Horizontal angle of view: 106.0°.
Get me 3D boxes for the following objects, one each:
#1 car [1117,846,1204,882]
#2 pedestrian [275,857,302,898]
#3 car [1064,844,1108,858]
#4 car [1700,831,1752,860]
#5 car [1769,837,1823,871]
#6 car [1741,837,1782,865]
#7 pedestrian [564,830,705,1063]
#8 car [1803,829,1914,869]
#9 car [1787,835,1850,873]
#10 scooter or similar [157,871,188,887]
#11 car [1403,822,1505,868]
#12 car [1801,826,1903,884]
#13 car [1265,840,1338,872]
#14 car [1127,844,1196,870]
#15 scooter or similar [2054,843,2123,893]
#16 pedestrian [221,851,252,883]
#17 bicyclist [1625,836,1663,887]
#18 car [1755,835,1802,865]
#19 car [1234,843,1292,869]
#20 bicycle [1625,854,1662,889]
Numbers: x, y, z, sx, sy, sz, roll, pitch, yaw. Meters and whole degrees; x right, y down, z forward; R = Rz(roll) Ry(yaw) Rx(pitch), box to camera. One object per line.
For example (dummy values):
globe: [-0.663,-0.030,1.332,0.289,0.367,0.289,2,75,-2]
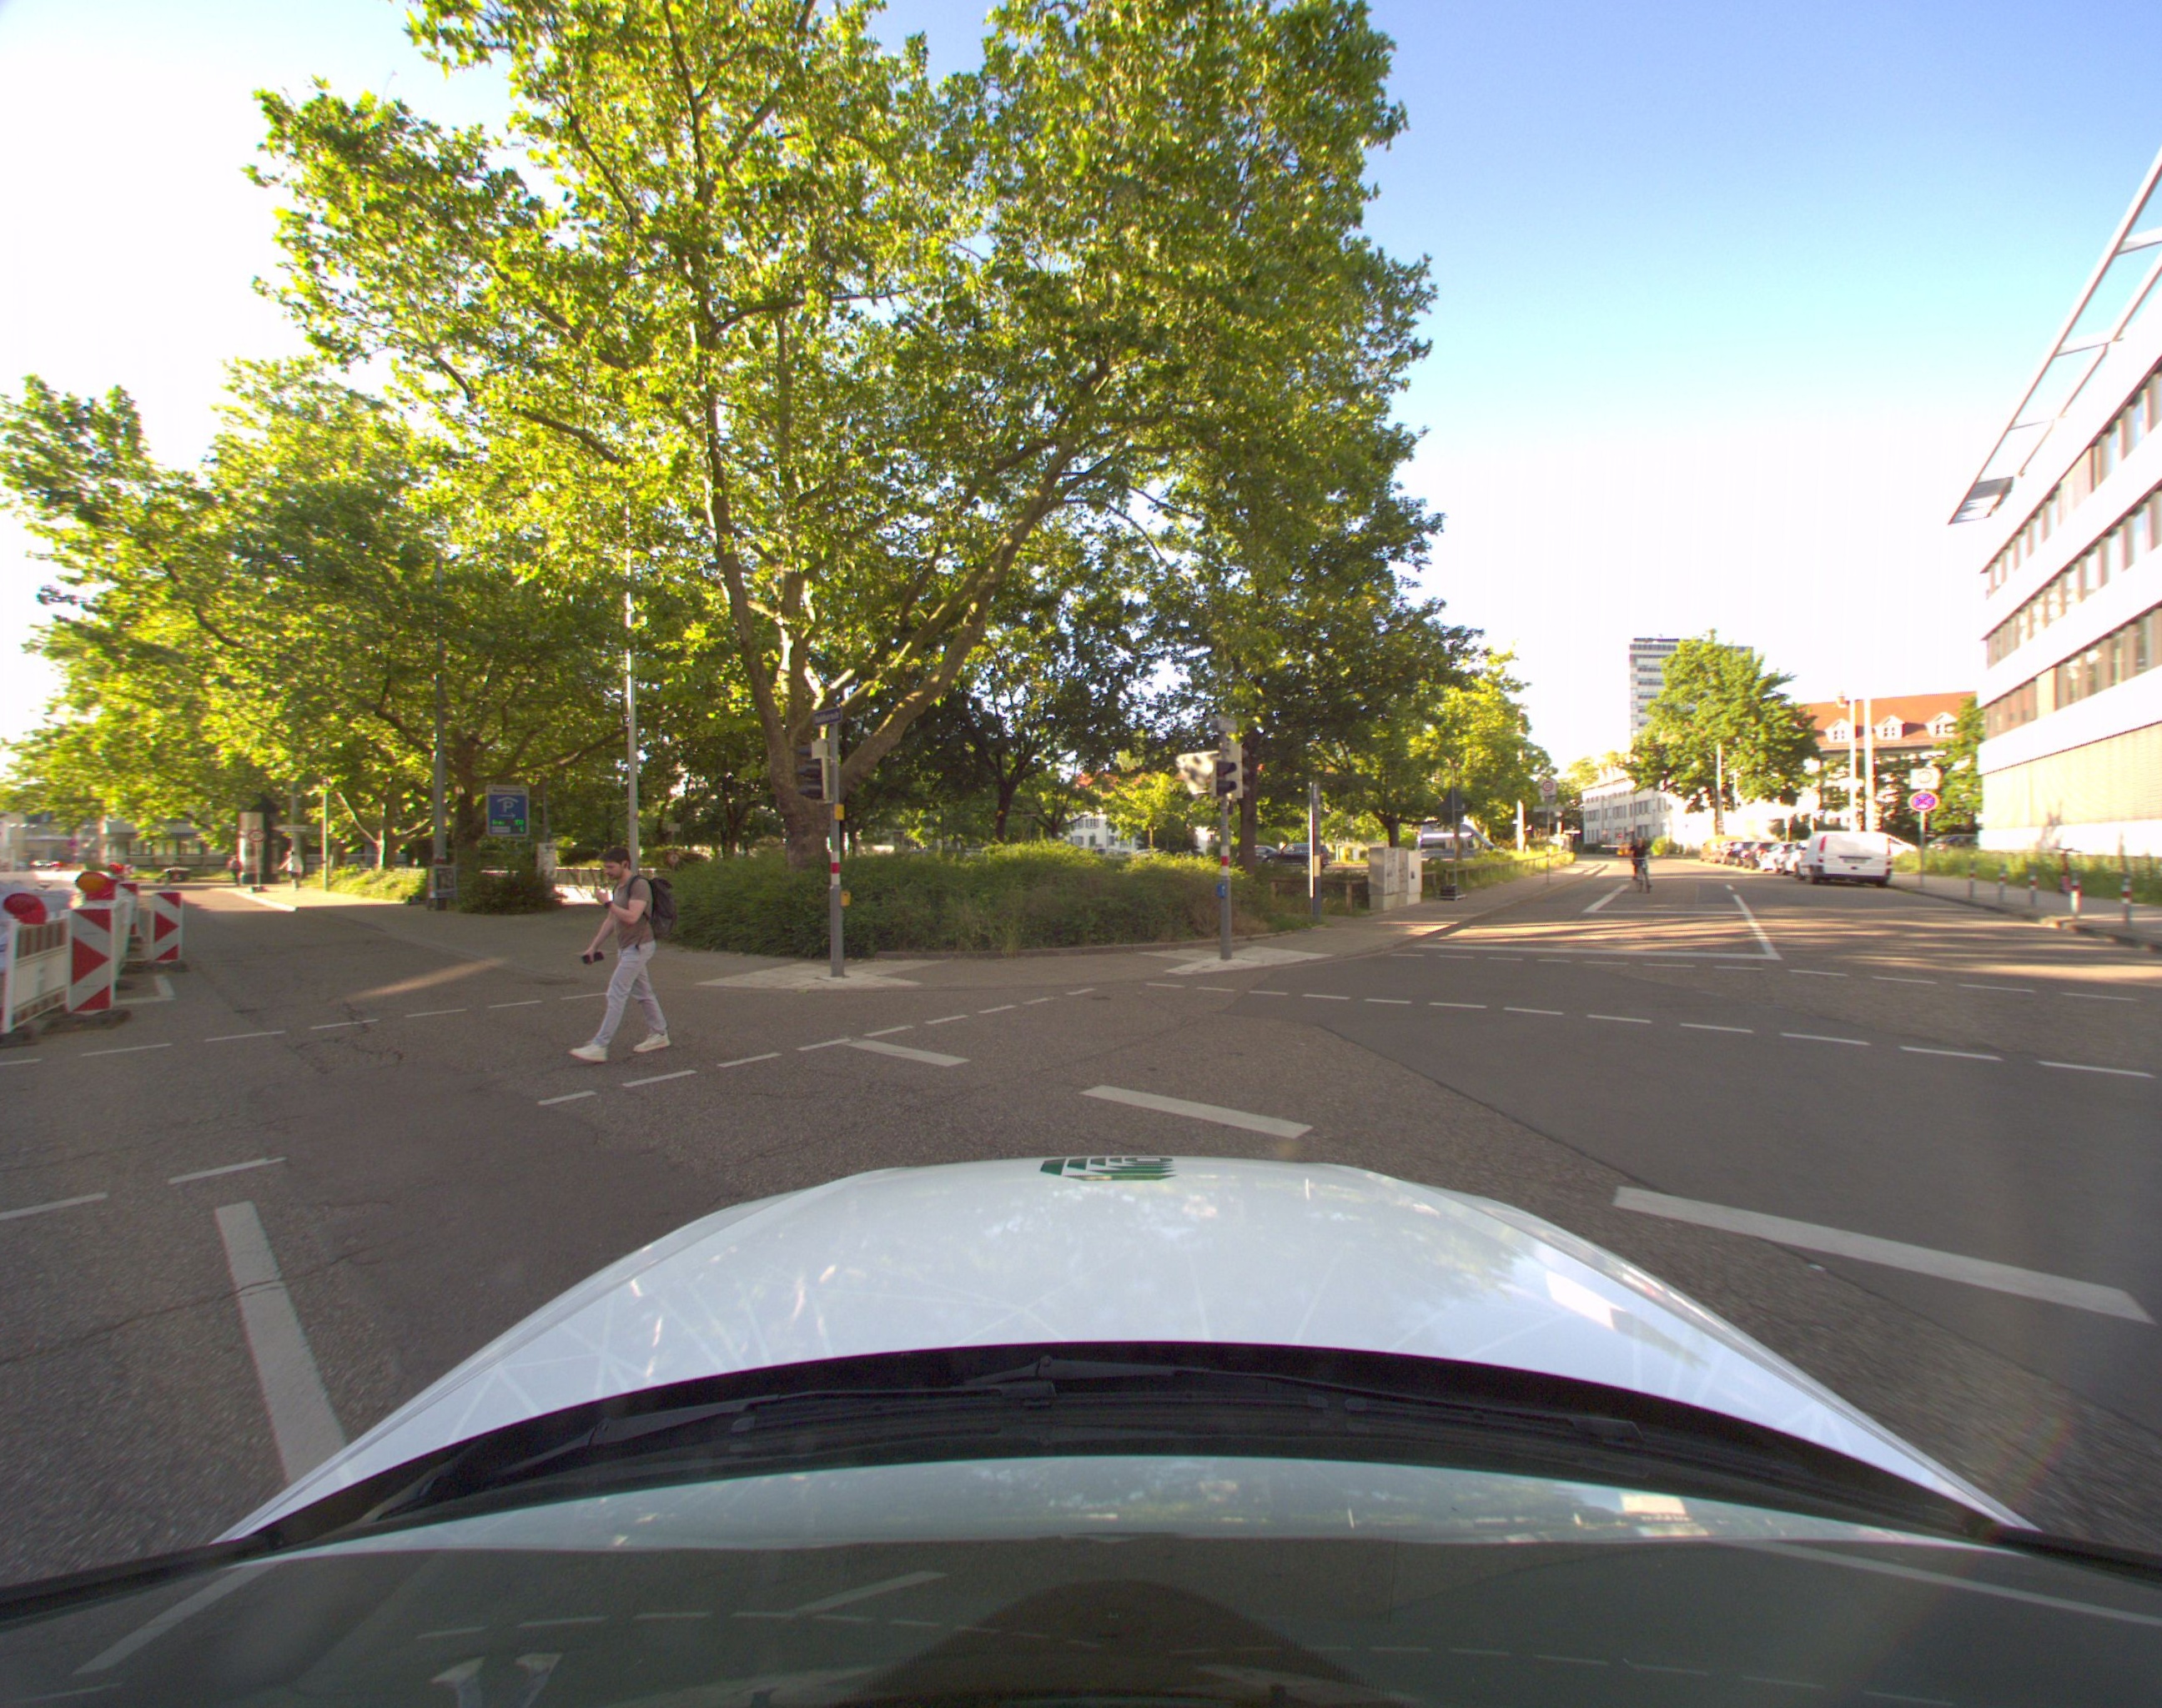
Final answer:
car: [4.132,0.514,42.840,4.256,1.811,1.799,0,0,38]
pedestrian: [-37.114,1.073,38.127,1.119,1.812,0.752,2,3,39]
car: [0.500,-0.298,89.618,4.597,1.475,2.027,0,-1,40]
car: [43.721,-0.628,55.302,2.063,1.786,4.944,-1,2,30]
car: [33.014,-0.019,37.695,1.609,1.485,3.875,0,1,38]
car: [38.458,-0.200,46.063,1.609,1.485,3.875,0,1,38]
pedestrian: [-3.708,0.695,6.763,0.889,1.772,0.739,-1,0,-40]
car: [52.896,-0.360,55.557,5.055,2.618,2.012,0,2,26]
car: [30.461,-0.038,33.738,1.609,1.485,3.875,0,1,38]
scooter or similar: [-54.120,1.476,48.510,0.414,0.913,1.158,-2,1,32]
car: [21.842,-0.499,47.829,5.093,2.572,2.013,0,0,38]
car: [26.532,-0.018,28.190,2.082,1.828,4.750,0,1,38]
car: [14.515,0.119,53.741,4.256,2.088,1.799,0,0,38]
car: [5.126,0.199,51.926,3.949,1.626,1.936,0,-1,40]
scooter or similar: [24.915,0.333,20.160,0.691,1.179,1.568,-1,0,36]
pedestrian: [-44.333,0.687,42.767,0.930,1.623,0.712,-1,0,8]
bicyclist: [17.273,0.221,25.021,0.866,1.535,1.094,0,0,29]
car: [35.670,-0.219,41.708,1.609,1.485,3.875,0,1,38]
car: [14.259,0.148,63.857,3.993,1.947,1.936,0,-1,38]
bicycle: [17.299,0.525,25.079,0.709,1.017,2.037,-2,0,29]
